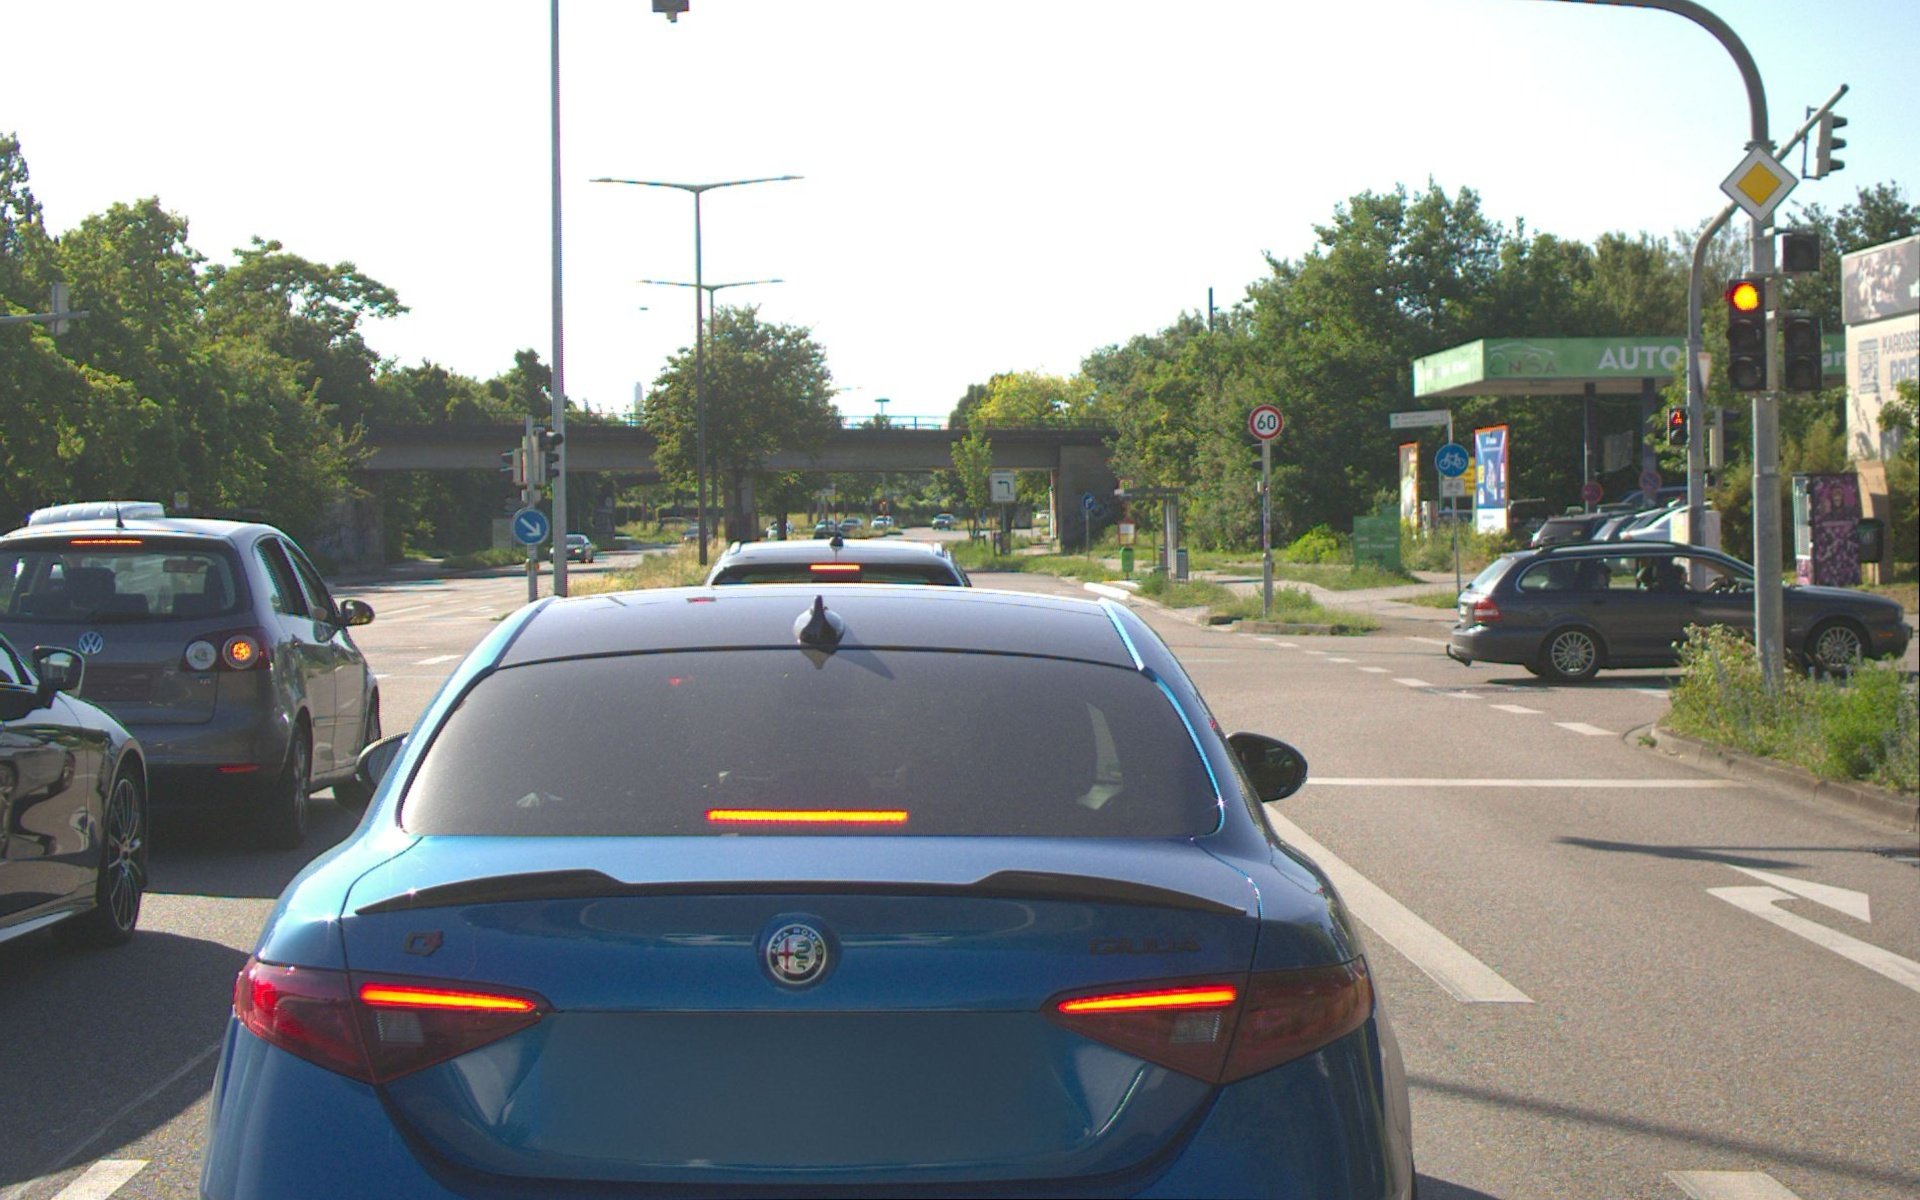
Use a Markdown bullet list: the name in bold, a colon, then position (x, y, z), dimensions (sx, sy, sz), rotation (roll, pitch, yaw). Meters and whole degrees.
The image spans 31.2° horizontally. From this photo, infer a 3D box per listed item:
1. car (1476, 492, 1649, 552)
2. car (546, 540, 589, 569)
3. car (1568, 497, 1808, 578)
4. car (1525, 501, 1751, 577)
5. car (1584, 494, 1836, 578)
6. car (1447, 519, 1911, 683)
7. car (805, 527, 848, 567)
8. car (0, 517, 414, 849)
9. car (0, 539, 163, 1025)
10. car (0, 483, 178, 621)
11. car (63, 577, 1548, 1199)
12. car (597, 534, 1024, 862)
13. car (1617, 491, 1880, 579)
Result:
- **car**: position (17.042, -2.199, 97.327), dimensions (4.551, 1.485, 1.765), rotation (-2, 1, 1)
- **car**: position (-20.945, -2.430, 183.431), dimensions (1.759, 1.485, 4.478), rotation (-2, 1, 0)
- **car**: position (14.814, -1.268, 70.113), dimensions (4.489, 1.449, 1.858), rotation (-2, 1, 1)
- **car**: position (14.594, -1.316, 74.163), dimensions (4.489, 1.449, 1.858), rotation (-2, 1, 1)
- **car**: position (14.657, -1.251, 67.359), dimensions (4.489, 1.449, 1.858), rotation (-2, 1, 1)
- **car**: position (7.397, 0.001, 35.680), dimensions (4.411, 1.485, 1.765), rotation (-2, 1, 1)
- **car**: position (-6.171, -2.437, 159.413), dimensions (1.891, 1.809, 4.000), rotation (1, 1, -1)
- **car**: position (-3.994, 0.350, 17.726), dimensions (1.759, 1.485, 4.403), rotation (1, 1, -2)
- **car**: position (-3.829, 0.544, 10.627), dimensions (1.796, 1.485, 4.476), rotation (1, 1, -2)
- **car**: position (-16.866, -0.927, 66.691), dimensions (2.022, 2.439, 5.822), rotation (-4, 1, -1)
- **car**: position (-0.262, 0.684, 6.617), dimensions (1.895, 1.413, 4.403), rotation (1, 1, -2)
- **car**: position (-0.718, 0.408, 17.250), dimensions (1.850, 1.413, 4.403), rotation (1, 1, -2)
- **car**: position (14.774, -1.213, 64.580), dimensions (4.489, 1.449, 1.858), rotation (-2, 1, 1)
